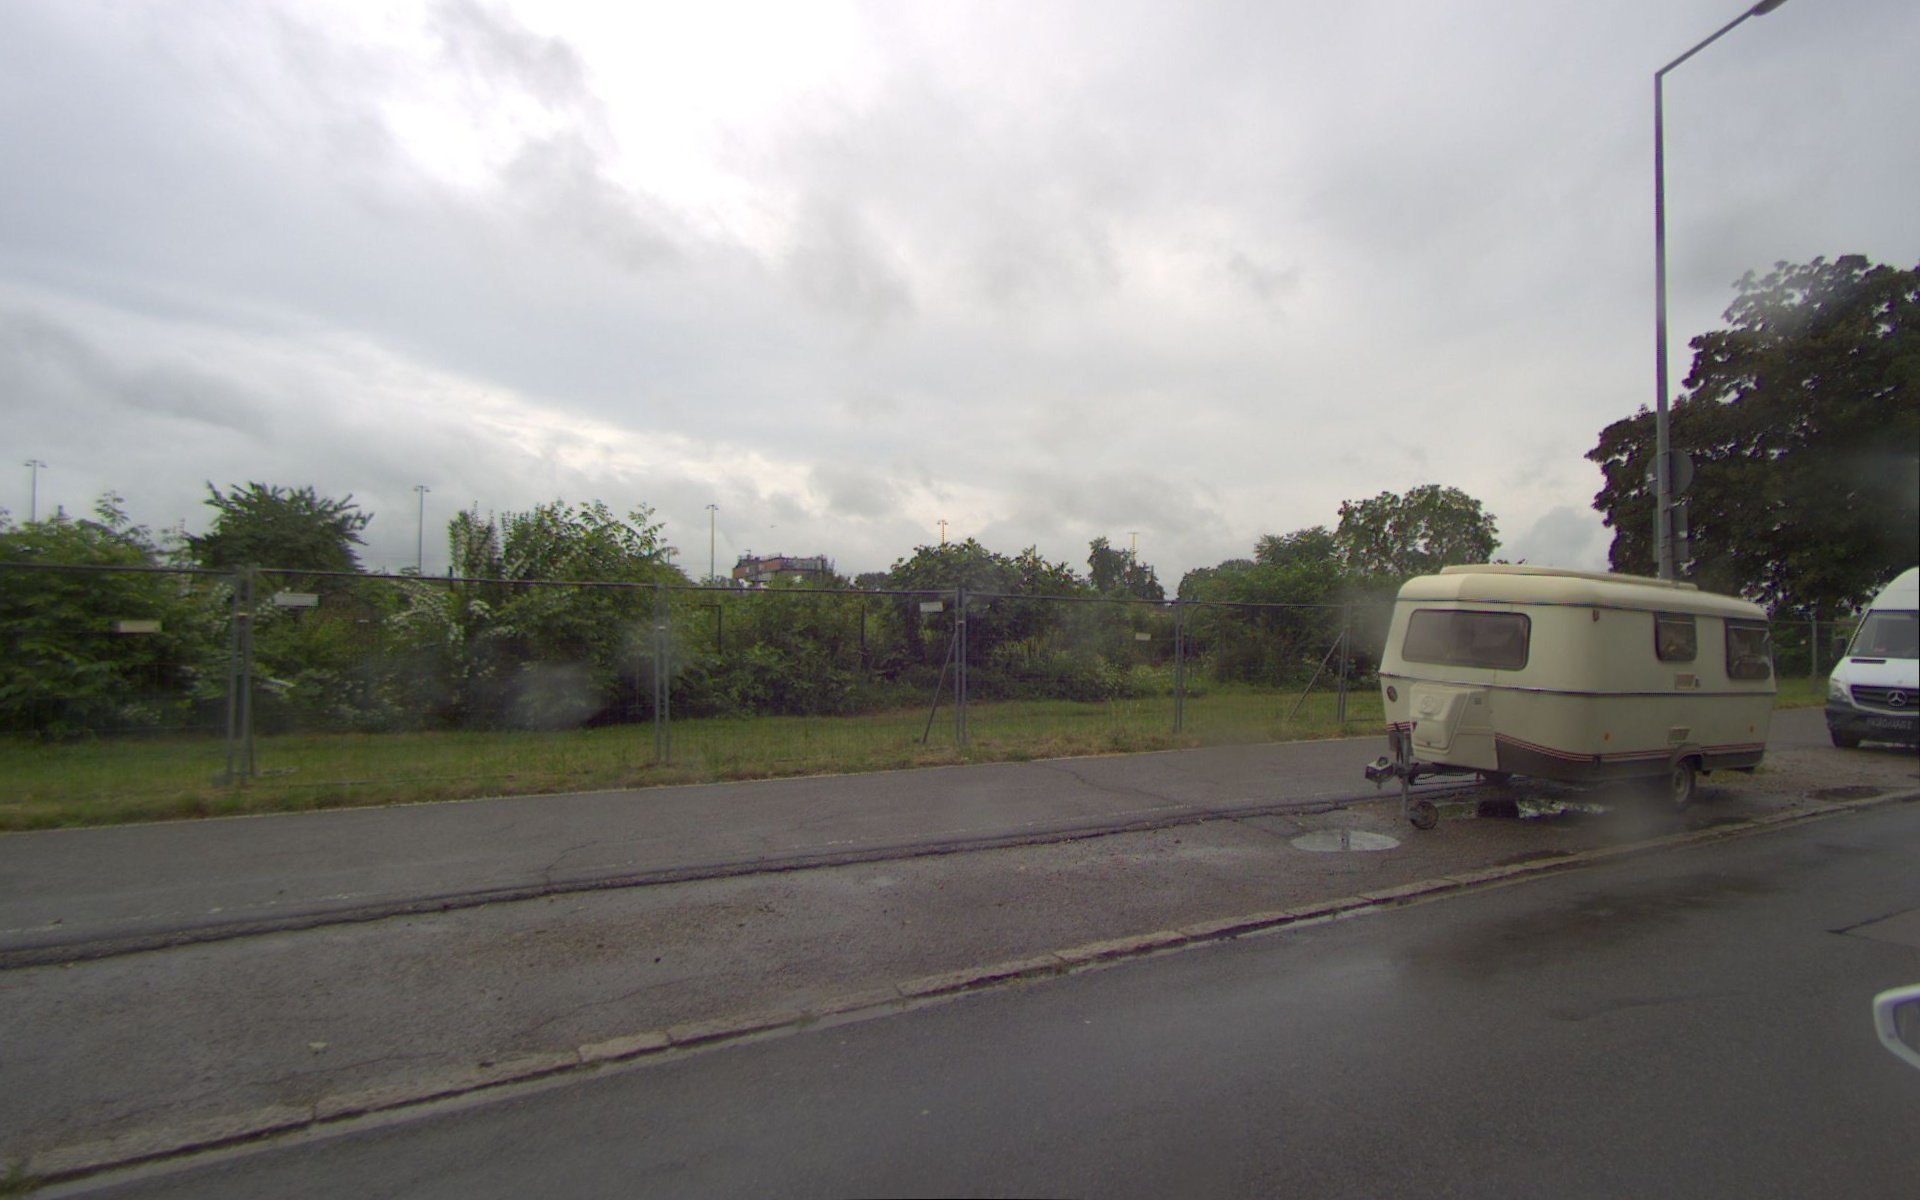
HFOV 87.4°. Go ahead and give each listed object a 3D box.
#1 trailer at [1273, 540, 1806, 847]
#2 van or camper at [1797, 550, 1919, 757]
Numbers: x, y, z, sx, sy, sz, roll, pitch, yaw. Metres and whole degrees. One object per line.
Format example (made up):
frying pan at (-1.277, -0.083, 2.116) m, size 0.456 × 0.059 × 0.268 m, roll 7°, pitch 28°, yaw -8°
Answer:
trailer at (5.808, 0.744, 9.762) m, size 5.731 × 2.247 × 2.047 m, roll 2°, pitch 0°, yaw -32°
van or camper at (16.166, 0.831, 15.870) m, size 7.806 × 2.799 × 1.984 m, roll 2°, pitch 0°, yaw -31°
